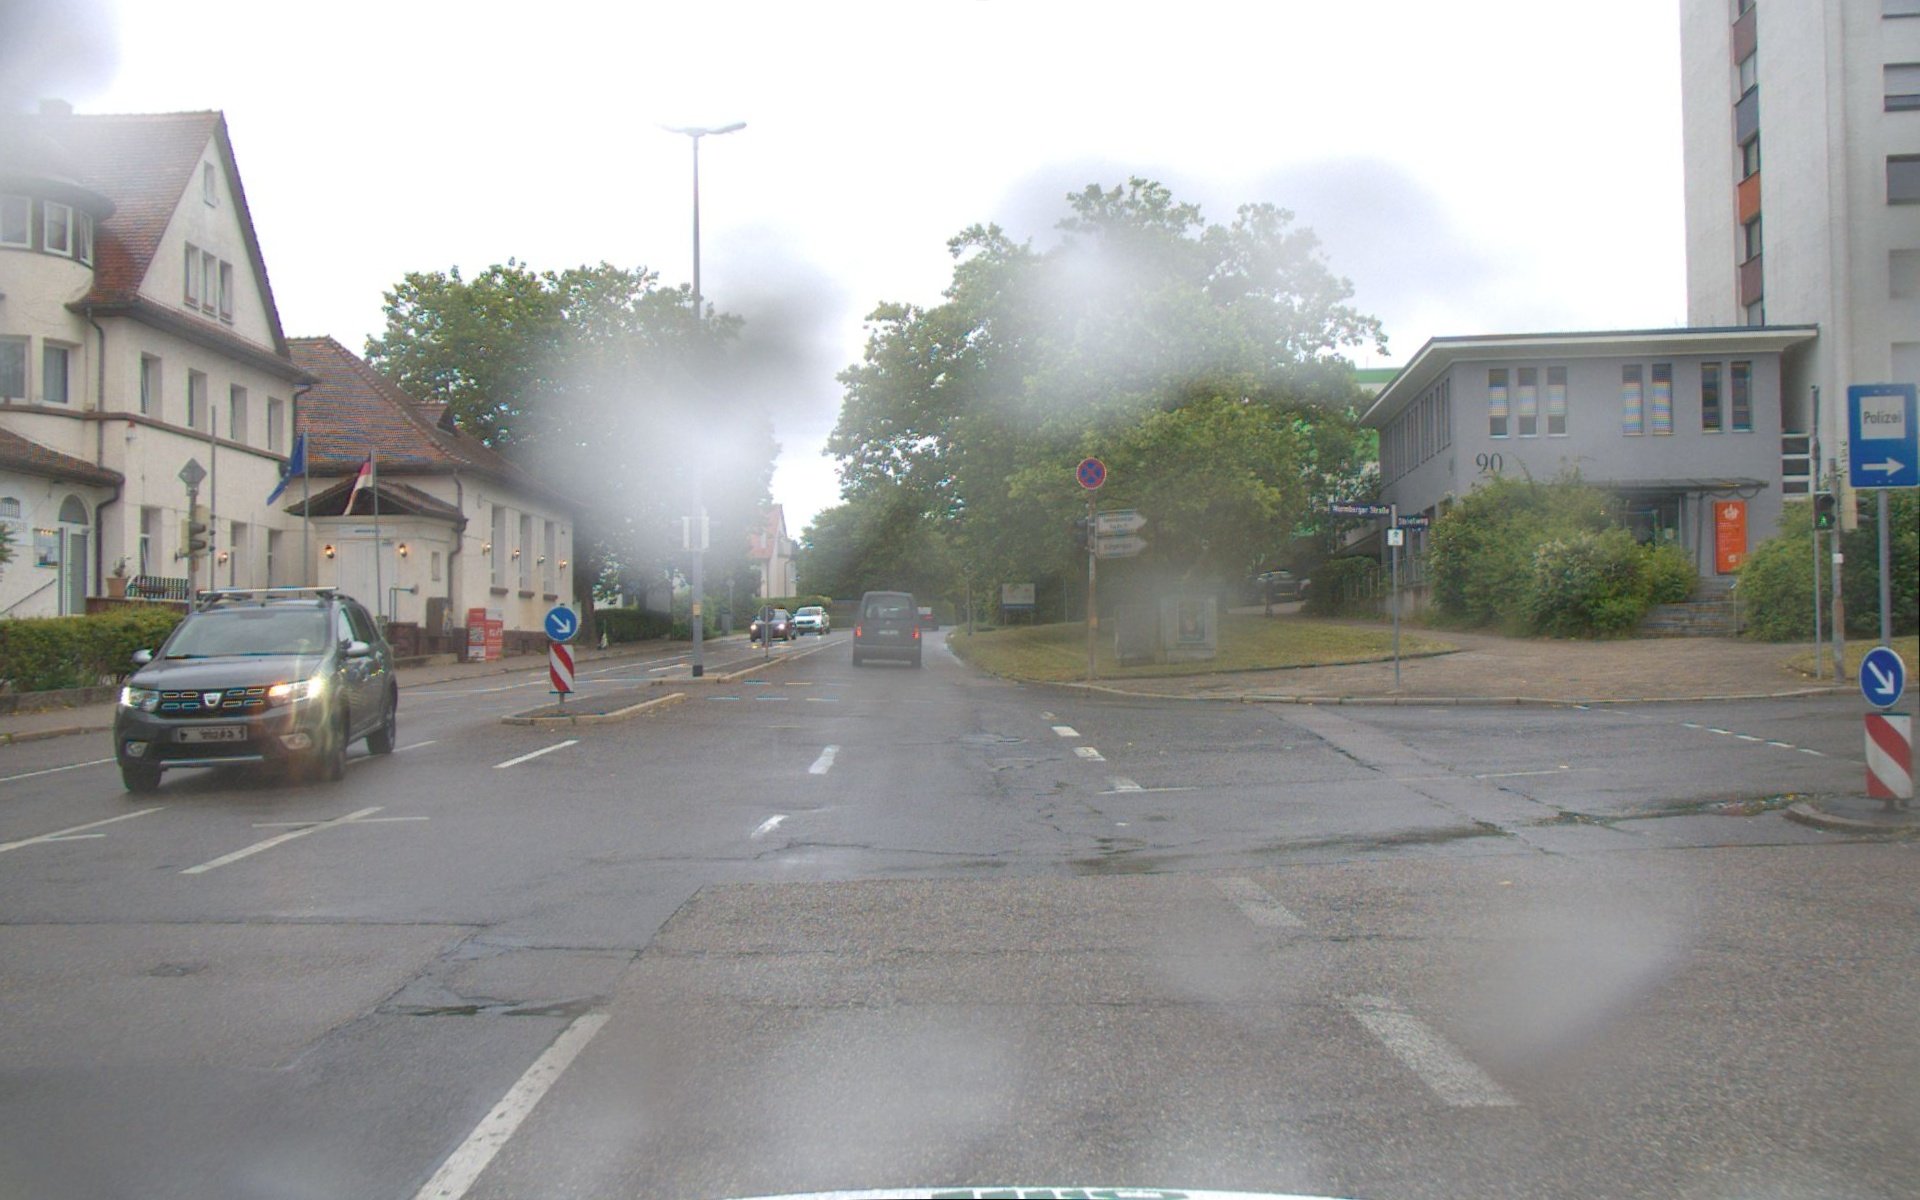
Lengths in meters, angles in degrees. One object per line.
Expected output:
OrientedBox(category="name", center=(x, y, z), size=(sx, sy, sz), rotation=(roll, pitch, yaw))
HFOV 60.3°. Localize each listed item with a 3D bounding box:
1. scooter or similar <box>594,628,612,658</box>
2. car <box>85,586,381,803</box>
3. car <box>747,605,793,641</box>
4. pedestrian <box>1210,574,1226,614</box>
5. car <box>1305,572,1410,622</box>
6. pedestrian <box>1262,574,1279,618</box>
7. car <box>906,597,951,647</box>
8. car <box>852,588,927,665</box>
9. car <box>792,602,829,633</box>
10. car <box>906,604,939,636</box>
OrientedBox(category="scooter or similar", center=(-12.863, 1.539, 59.620), size=(0.382, 1.083, 1.409), rotation=(1, -1, -3))
OrientedBox(category="car", center=(-6.294, 0.701, 14.812), size=(1.868, 1.605, 4.481), rotation=(-1, 0, -17))
OrientedBox(category="car", center=(-8.861, 1.048, 77.438), size=(1.757, 1.554, 4.208), rotation=(-1, 0, -1))
OrientedBox(category="pedestrian", center=(11.512, -0.259, 73.750), size=(0.546, 1.794, 0.727), rotation=(1, -1, -4))
OrientedBox(category="car", center=(15.756, -0.108, 65.787), size=(3.902, 1.848, 2.001), rotation=(1, -1, 9))
OrientedBox(category="pedestrian", center=(11.915, -0.150, 63.554), size=(0.588, 1.645, 0.526), rotation=(1, -1, 7))
OrientedBox(category="car", center=(-1.245, 0.858, 64.188), size=(1.670, 1.840, 3.683), rotation=(1, -1, -2))
OrientedBox(category="car", center=(-1.781, 0.677, 42.061), size=(1.776, 1.840, 3.755), rotation=(1, -1, -2))
OrientedBox(category="car", center=(-8.463, 0.967, 94.143), size=(1.793, 1.701, 4.050), rotation=(-1, 0, -1))
OrientedBox(category="car", center=(-2.328, 1.244, 101.847), size=(1.953, 1.915, 3.998), rotation=(1, -1, -1))
